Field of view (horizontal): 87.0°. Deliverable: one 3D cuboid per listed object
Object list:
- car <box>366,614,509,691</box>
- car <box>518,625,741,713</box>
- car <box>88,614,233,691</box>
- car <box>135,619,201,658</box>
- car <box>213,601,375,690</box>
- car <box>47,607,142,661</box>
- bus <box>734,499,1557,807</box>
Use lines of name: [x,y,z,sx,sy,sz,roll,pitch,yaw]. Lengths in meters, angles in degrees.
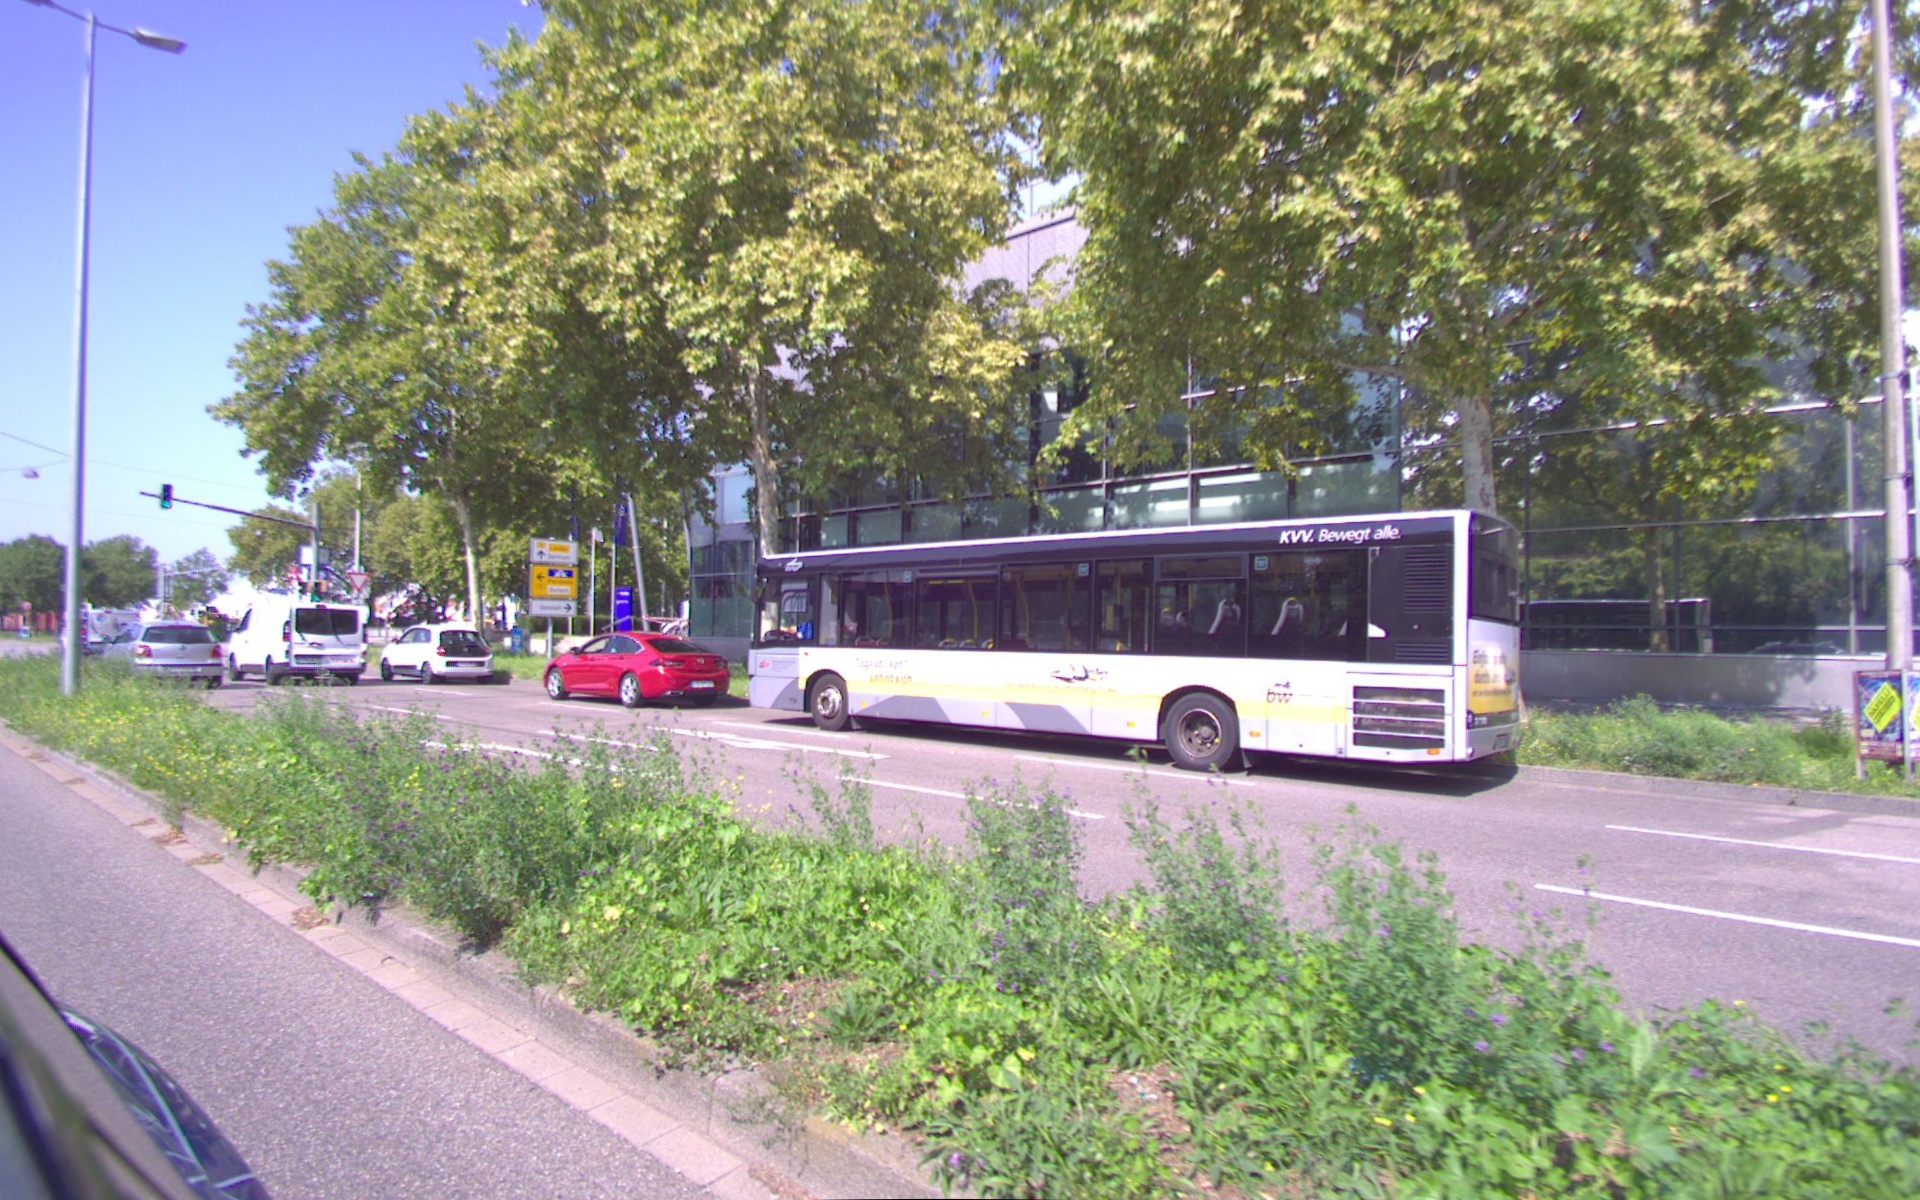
car: [-14.031,1.375,27.111,3.972,1.910,1.908,-1,-4,39]
car: [-6.756,1.317,20.377,5.209,1.522,1.761,-1,-4,40]
car: [-17.472,1.159,22.070,4.097,1.547,1.598,-2,-5,40]
car: [-35.592,1.722,45.471,3.730,1.546,1.650,2,-2,42]
car: [-16.574,1.105,25.061,5.186,1.975,1.907,-1,-4,41]
car: [-34.052,1.362,39.755,5.207,1.973,1.908,-2,-3,39]
bus: [1.466,0.596,13.460,10.898,2.715,2.634,-1,-4,40]
